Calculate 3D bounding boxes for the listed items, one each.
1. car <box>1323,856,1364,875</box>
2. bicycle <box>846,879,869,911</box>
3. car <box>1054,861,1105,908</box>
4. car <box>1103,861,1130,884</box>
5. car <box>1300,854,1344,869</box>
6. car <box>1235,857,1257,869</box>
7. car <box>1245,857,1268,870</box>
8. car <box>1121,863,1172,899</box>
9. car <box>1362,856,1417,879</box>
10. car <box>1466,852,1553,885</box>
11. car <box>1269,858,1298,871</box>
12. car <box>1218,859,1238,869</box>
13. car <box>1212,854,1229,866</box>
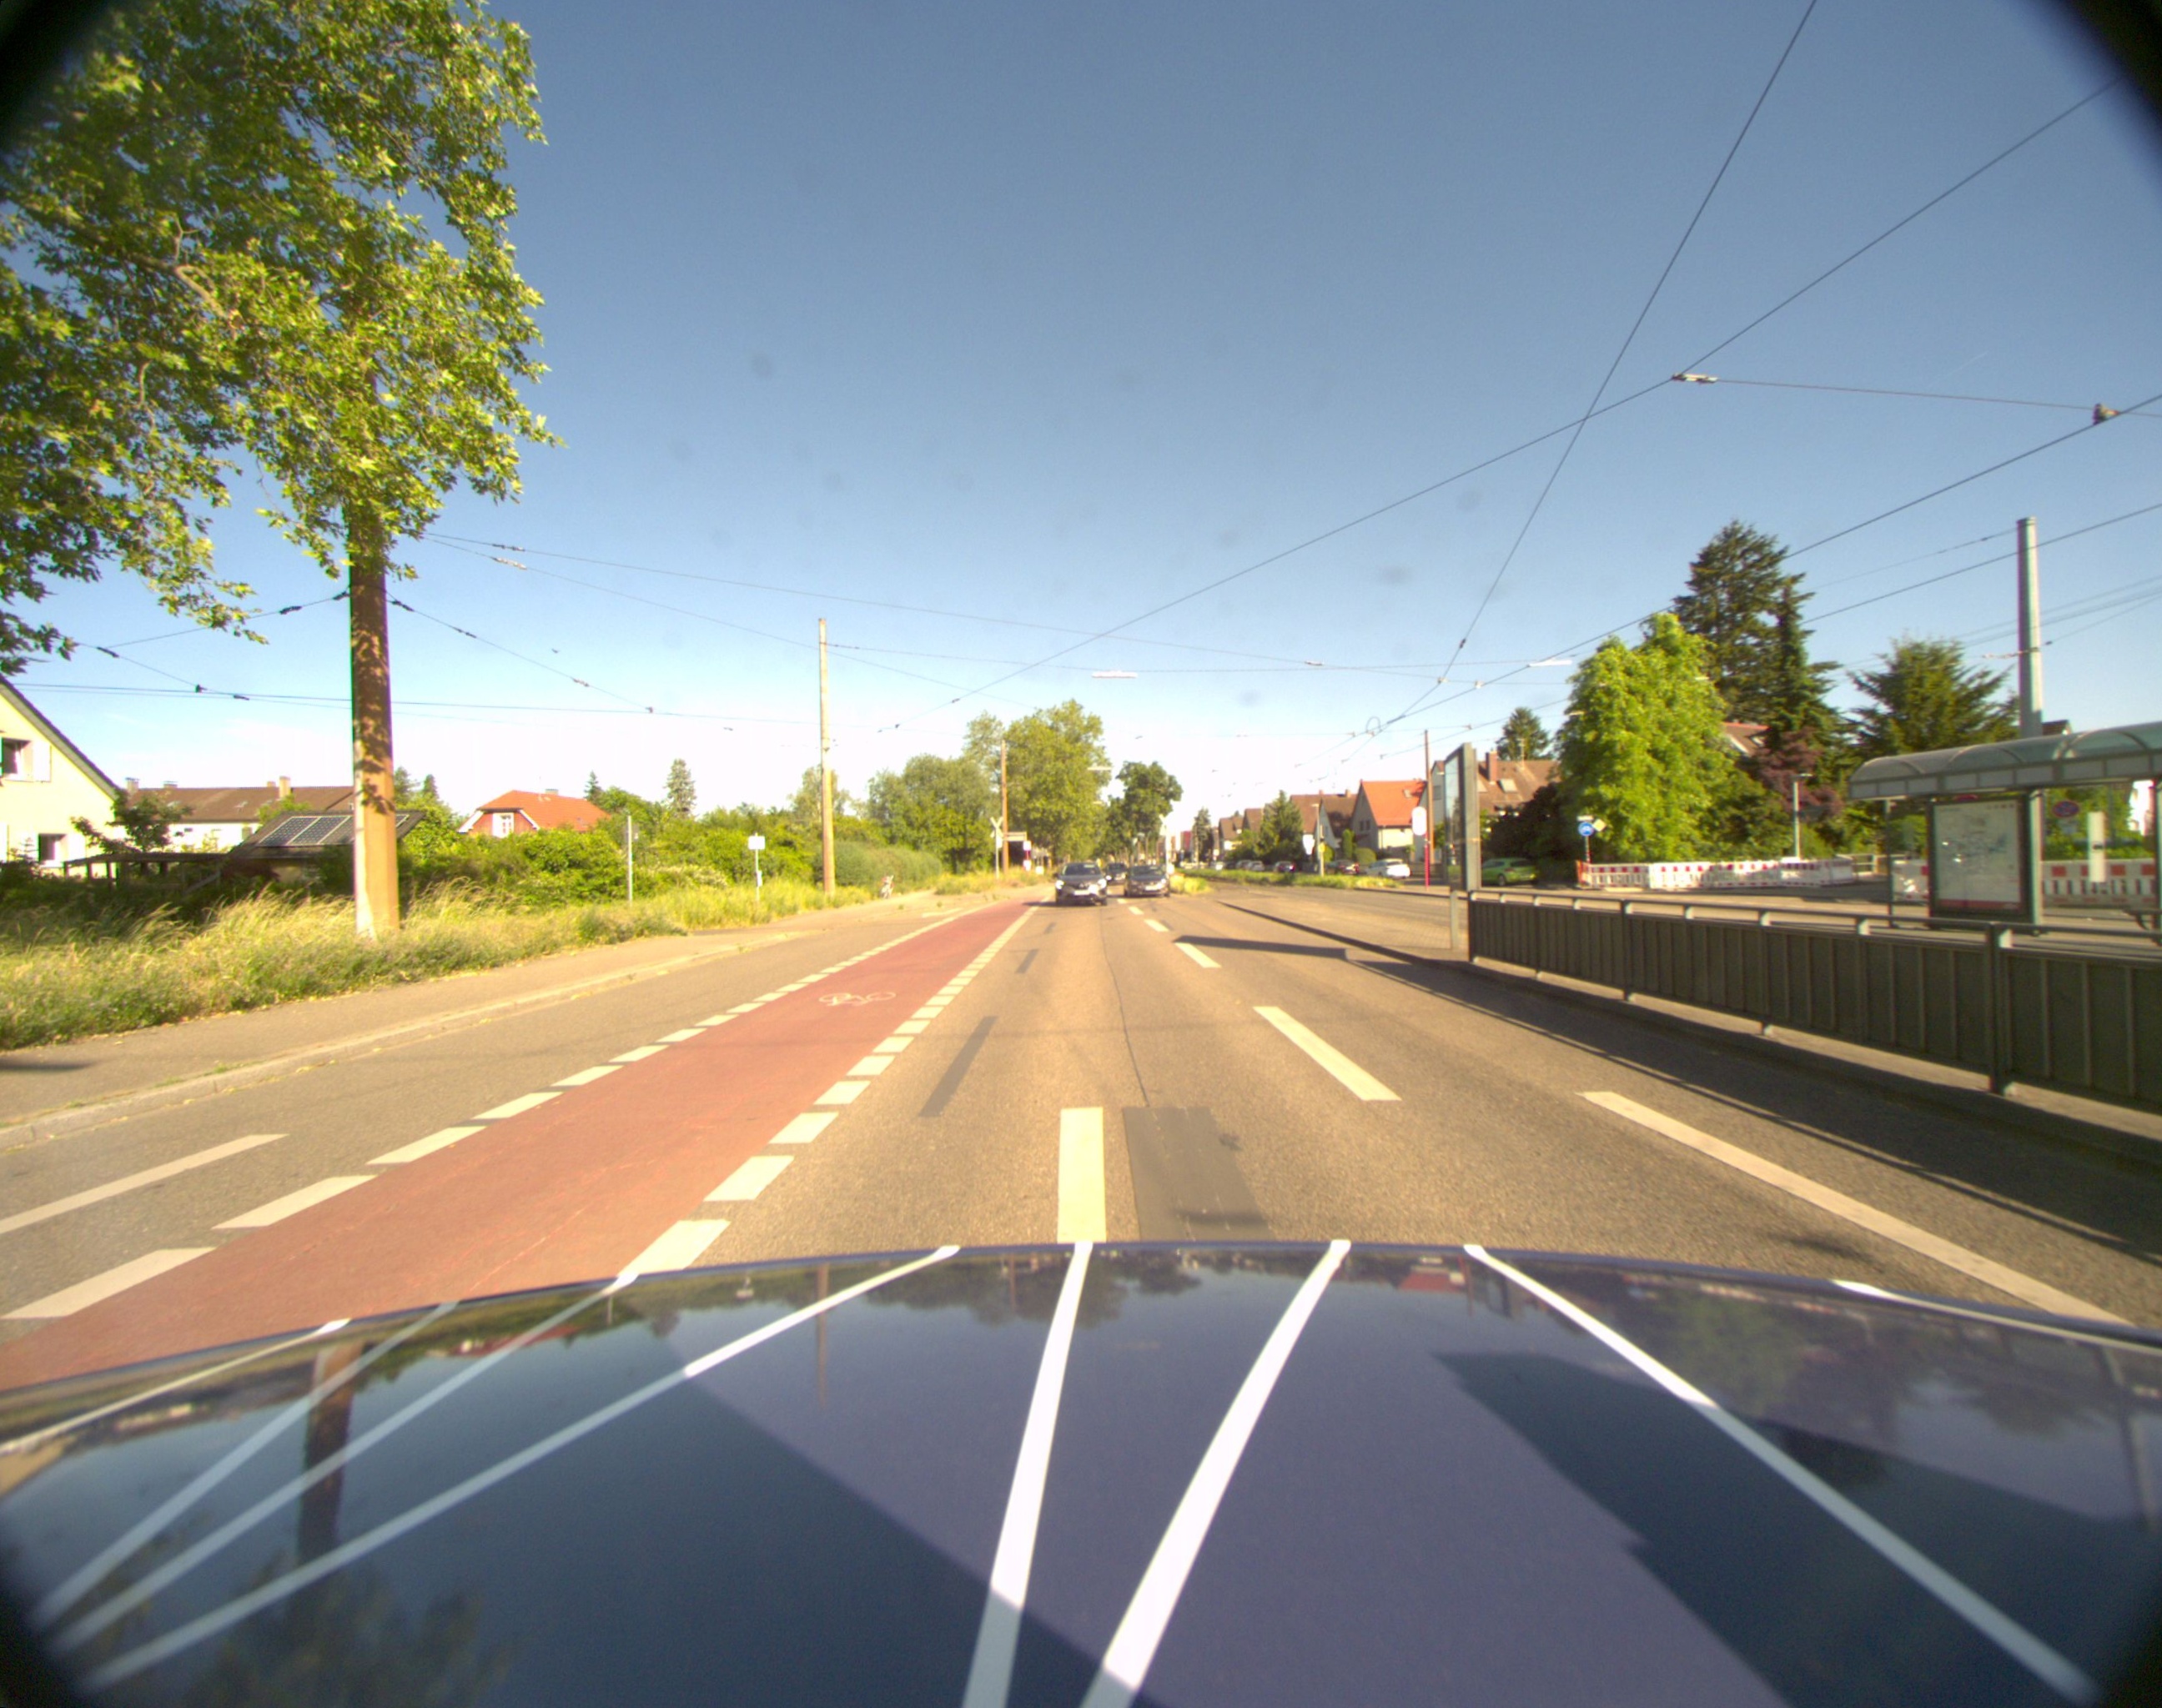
[{"bbox_3d":[21.995,0.916,63.763,1.912,1.457,4.441,-3,0,1],"label":"car"},{"bbox_3d":[-8.453,1.519,28.752,0.366,1.128,2.095,-1,0,-4],"label":"bicycle"},{"bbox_3d":[-0.054,1.033,27.440,1.673,1.529,3.586,-2,0,0],"label":"car"},{"bbox_3d":[2.579,1.359,56.364,1.779,1.620,4.288,-1,-1,0],"label":"car"},{"bbox_3d":[27.983,0.852,88.283,4.488,1.461,1.748,-3,0,-1],"label":"car"},{"bbox_3d":[22.112,1.179,101.895,1.888,1.551,4.537,-3,0,1],"label":"car"},{"bbox_3d":[22.353,1.206,96.839,1.888,1.463,4.839,-3,0,1],"label":"car"},{"bbox_3d":[2.866,1.135,33.855,1.780,1.441,4.334,-1,0,-1],"label":"car"},{"bbox_3d":[21.859,0.943,54.045,1.888,1.464,4.614,-3,0,-1],"label":"car"},{"bbox_3d":[22.042,0.711,39.262,1.999,1.492,4.068,-3,0,-2],"label":"car"},{"bbox_3d":[22.025,1.121,82.752,1.998,1.363,4.310,-2,0,1],"label":"car"},{"bbox_3d":[22.005,1.421,113.598,1.998,1.333,4.982,-3,0,1],"label":"car"},{"bbox_3d":[22.457,0.997,122.447,1.998,1.852,4.585,-2,0,1],"label":"car"}]
